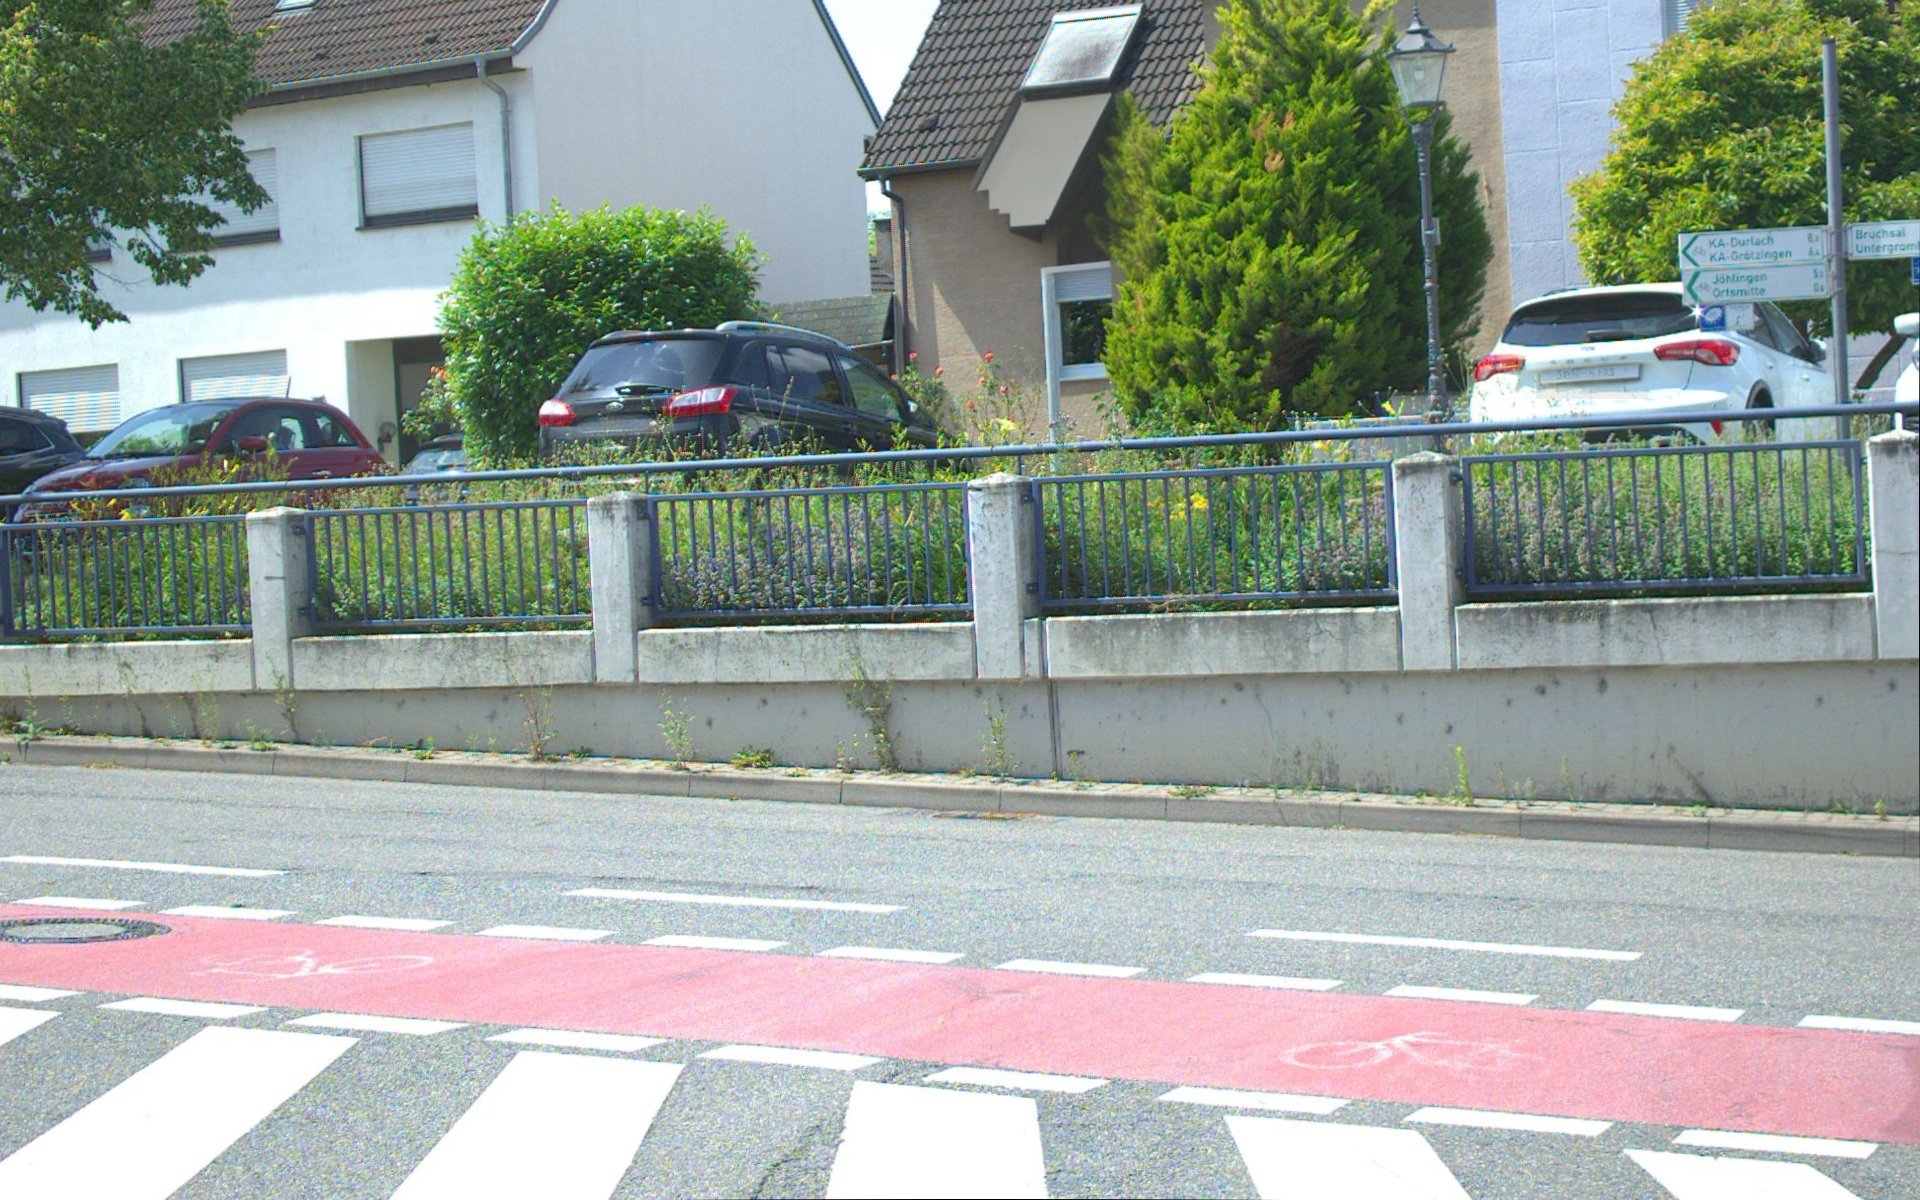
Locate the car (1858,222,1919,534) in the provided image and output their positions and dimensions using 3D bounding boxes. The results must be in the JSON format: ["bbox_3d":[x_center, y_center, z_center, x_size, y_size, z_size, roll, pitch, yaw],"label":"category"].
[{"bbox_3d":[7.033,-1.279,21.367,1.996,1.791,4.191,2,2,25],"label":"car"}]

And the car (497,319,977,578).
[{"bbox_3d":[-1.588,-1.108,26.004,1.870,1.791,3.995,2,2,25],"label":"car"}]

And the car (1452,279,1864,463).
[{"bbox_3d":[4.636,-1.465,22.500,1.827,1.016,3.454,2,2,25],"label":"car"}]

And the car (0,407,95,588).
[{"bbox_3d":[-9.477,-0.922,29.939,1.870,1.581,3.605,2,2,25],"label":"car"}]

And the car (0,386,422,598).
[{"bbox_3d":[-6.205,-0.863,27.954,1.870,1.581,3.605,2,2,25],"label":"car"}]
